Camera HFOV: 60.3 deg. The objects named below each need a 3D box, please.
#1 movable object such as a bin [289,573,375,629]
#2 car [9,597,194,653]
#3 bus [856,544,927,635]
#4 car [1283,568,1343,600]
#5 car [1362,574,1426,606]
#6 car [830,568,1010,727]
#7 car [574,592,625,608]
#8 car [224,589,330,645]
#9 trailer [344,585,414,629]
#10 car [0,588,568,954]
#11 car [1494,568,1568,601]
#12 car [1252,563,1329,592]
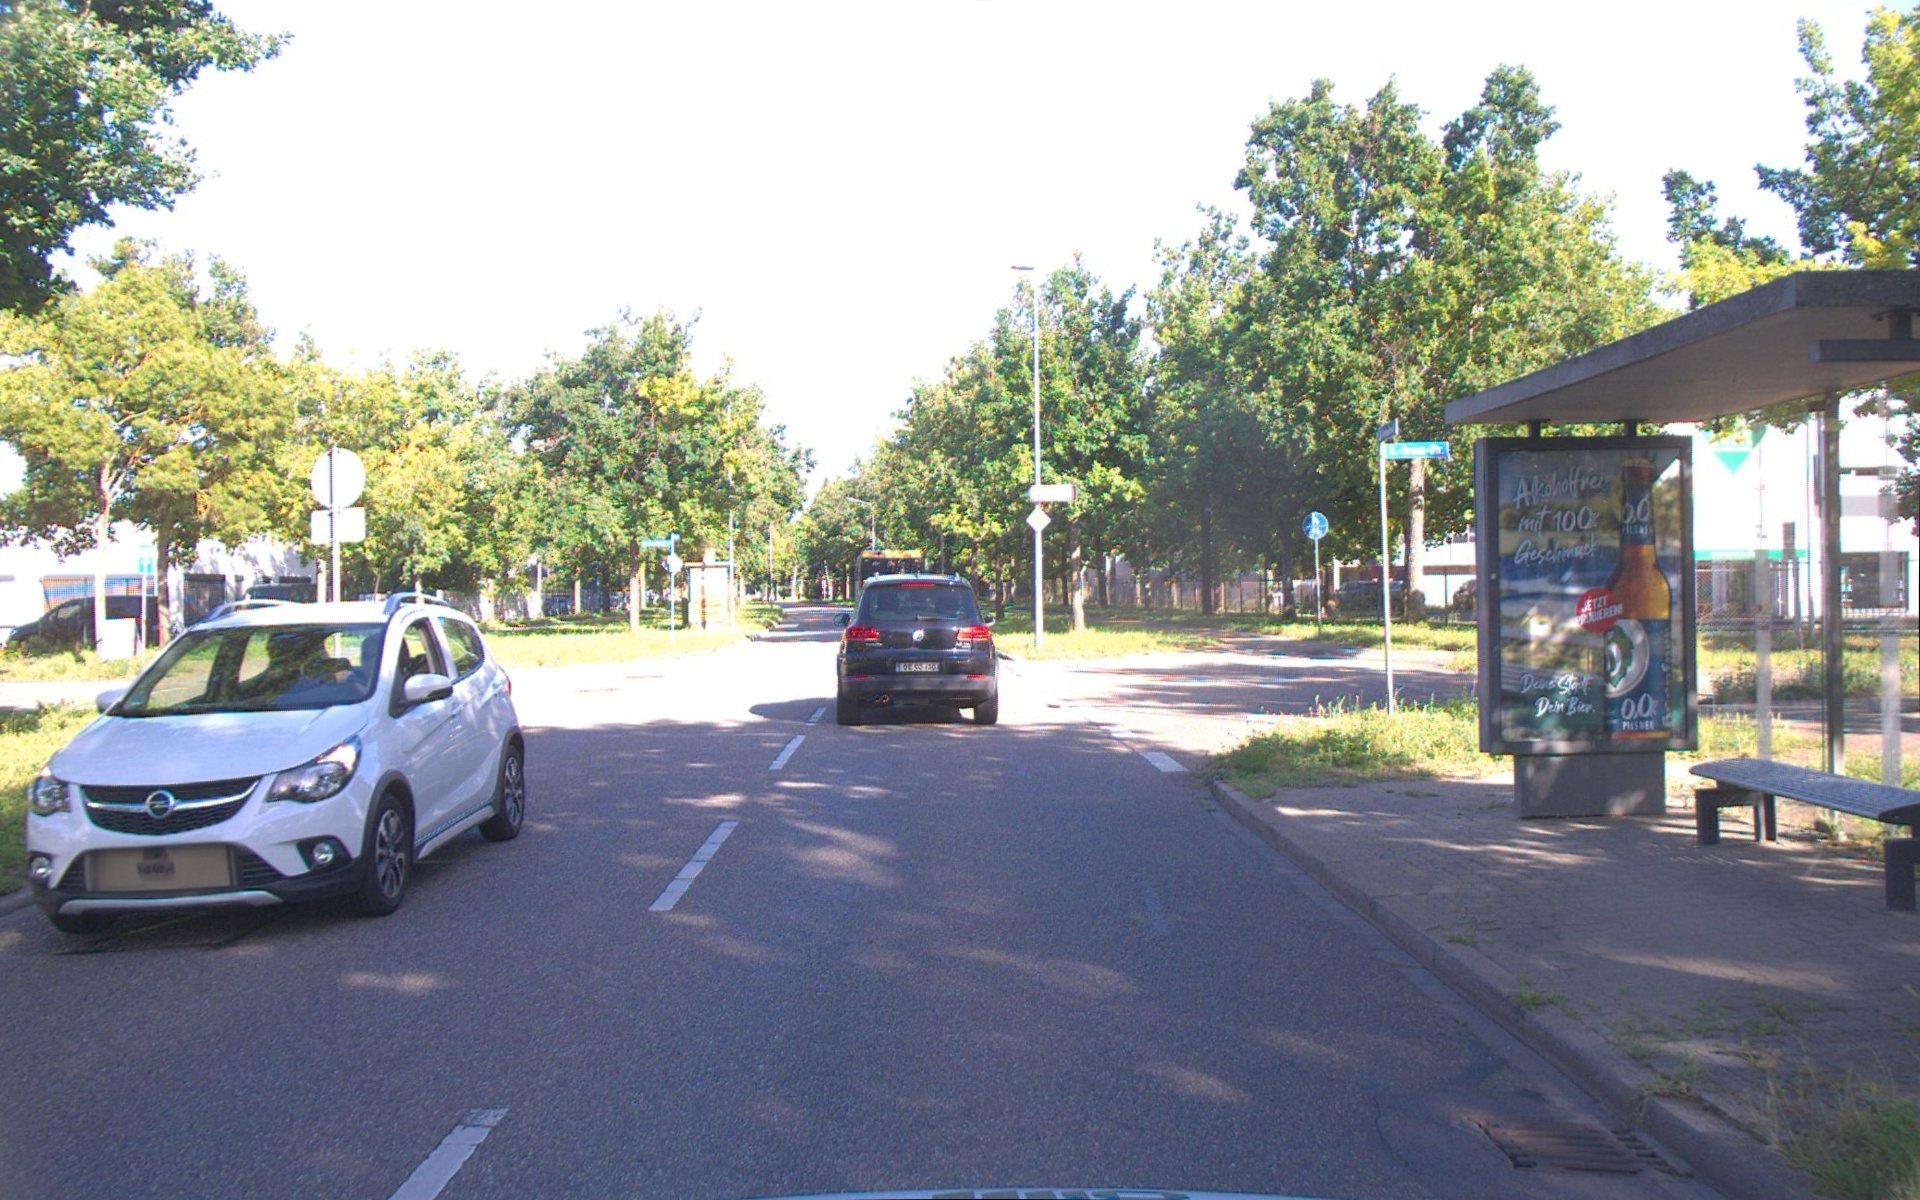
[{"bbox_3d":[-26.699,0.014,70.493,2.060,2.255,4.458,-1,1,-3],"label":"movable object such as a bin"},{"bbox_3d":[-25.198,0.714,48.654,4.408,1.505,1.941,-1,0,0],"label":"car"},{"bbox_3d":[-3.056,-0.492,70.626,2.710,3.517,11.203,-1,1,-4],"label":"bus"},{"bbox_3d":[20.374,-0.946,95.699,2.141,1.774,4.638,-1,1,-4],"label":"car"},{"bbox_3d":[25.285,-0.604,96.538,2.142,1.774,4.636,-1,1,-6],"label":"car"},{"bbox_3d":[-0.452,0.468,19.802,1.896,1.685,4.426,0,1,-1],"label":"car"},{"bbox_3d":[-31.456,-0.017,144.406,4.114,1.344,1.940,-1,1,-3],"label":"car"},{"bbox_3d":[-26.415,0.611,64.231,1.995,2.023,5.802,-1,1,-4],"label":"car"},{"bbox_3d":[-27.234,0.314,77.608,2.060,1.948,3.739,-1,1,-3],"label":"trailer"},{"bbox_3d":[-3.540,0.724,9.371,1.709,1.490,4.425,-2,1,-2],"label":"car"},{"bbox_3d":[25.669,-0.704,74.440,1.731,1.408,3.763,-1,1,-6],"label":"car"},{"bbox_3d":[21.858,-1.486,109.399,4.543,1.774,2.186,-1,1,-11],"label":"car"}]
